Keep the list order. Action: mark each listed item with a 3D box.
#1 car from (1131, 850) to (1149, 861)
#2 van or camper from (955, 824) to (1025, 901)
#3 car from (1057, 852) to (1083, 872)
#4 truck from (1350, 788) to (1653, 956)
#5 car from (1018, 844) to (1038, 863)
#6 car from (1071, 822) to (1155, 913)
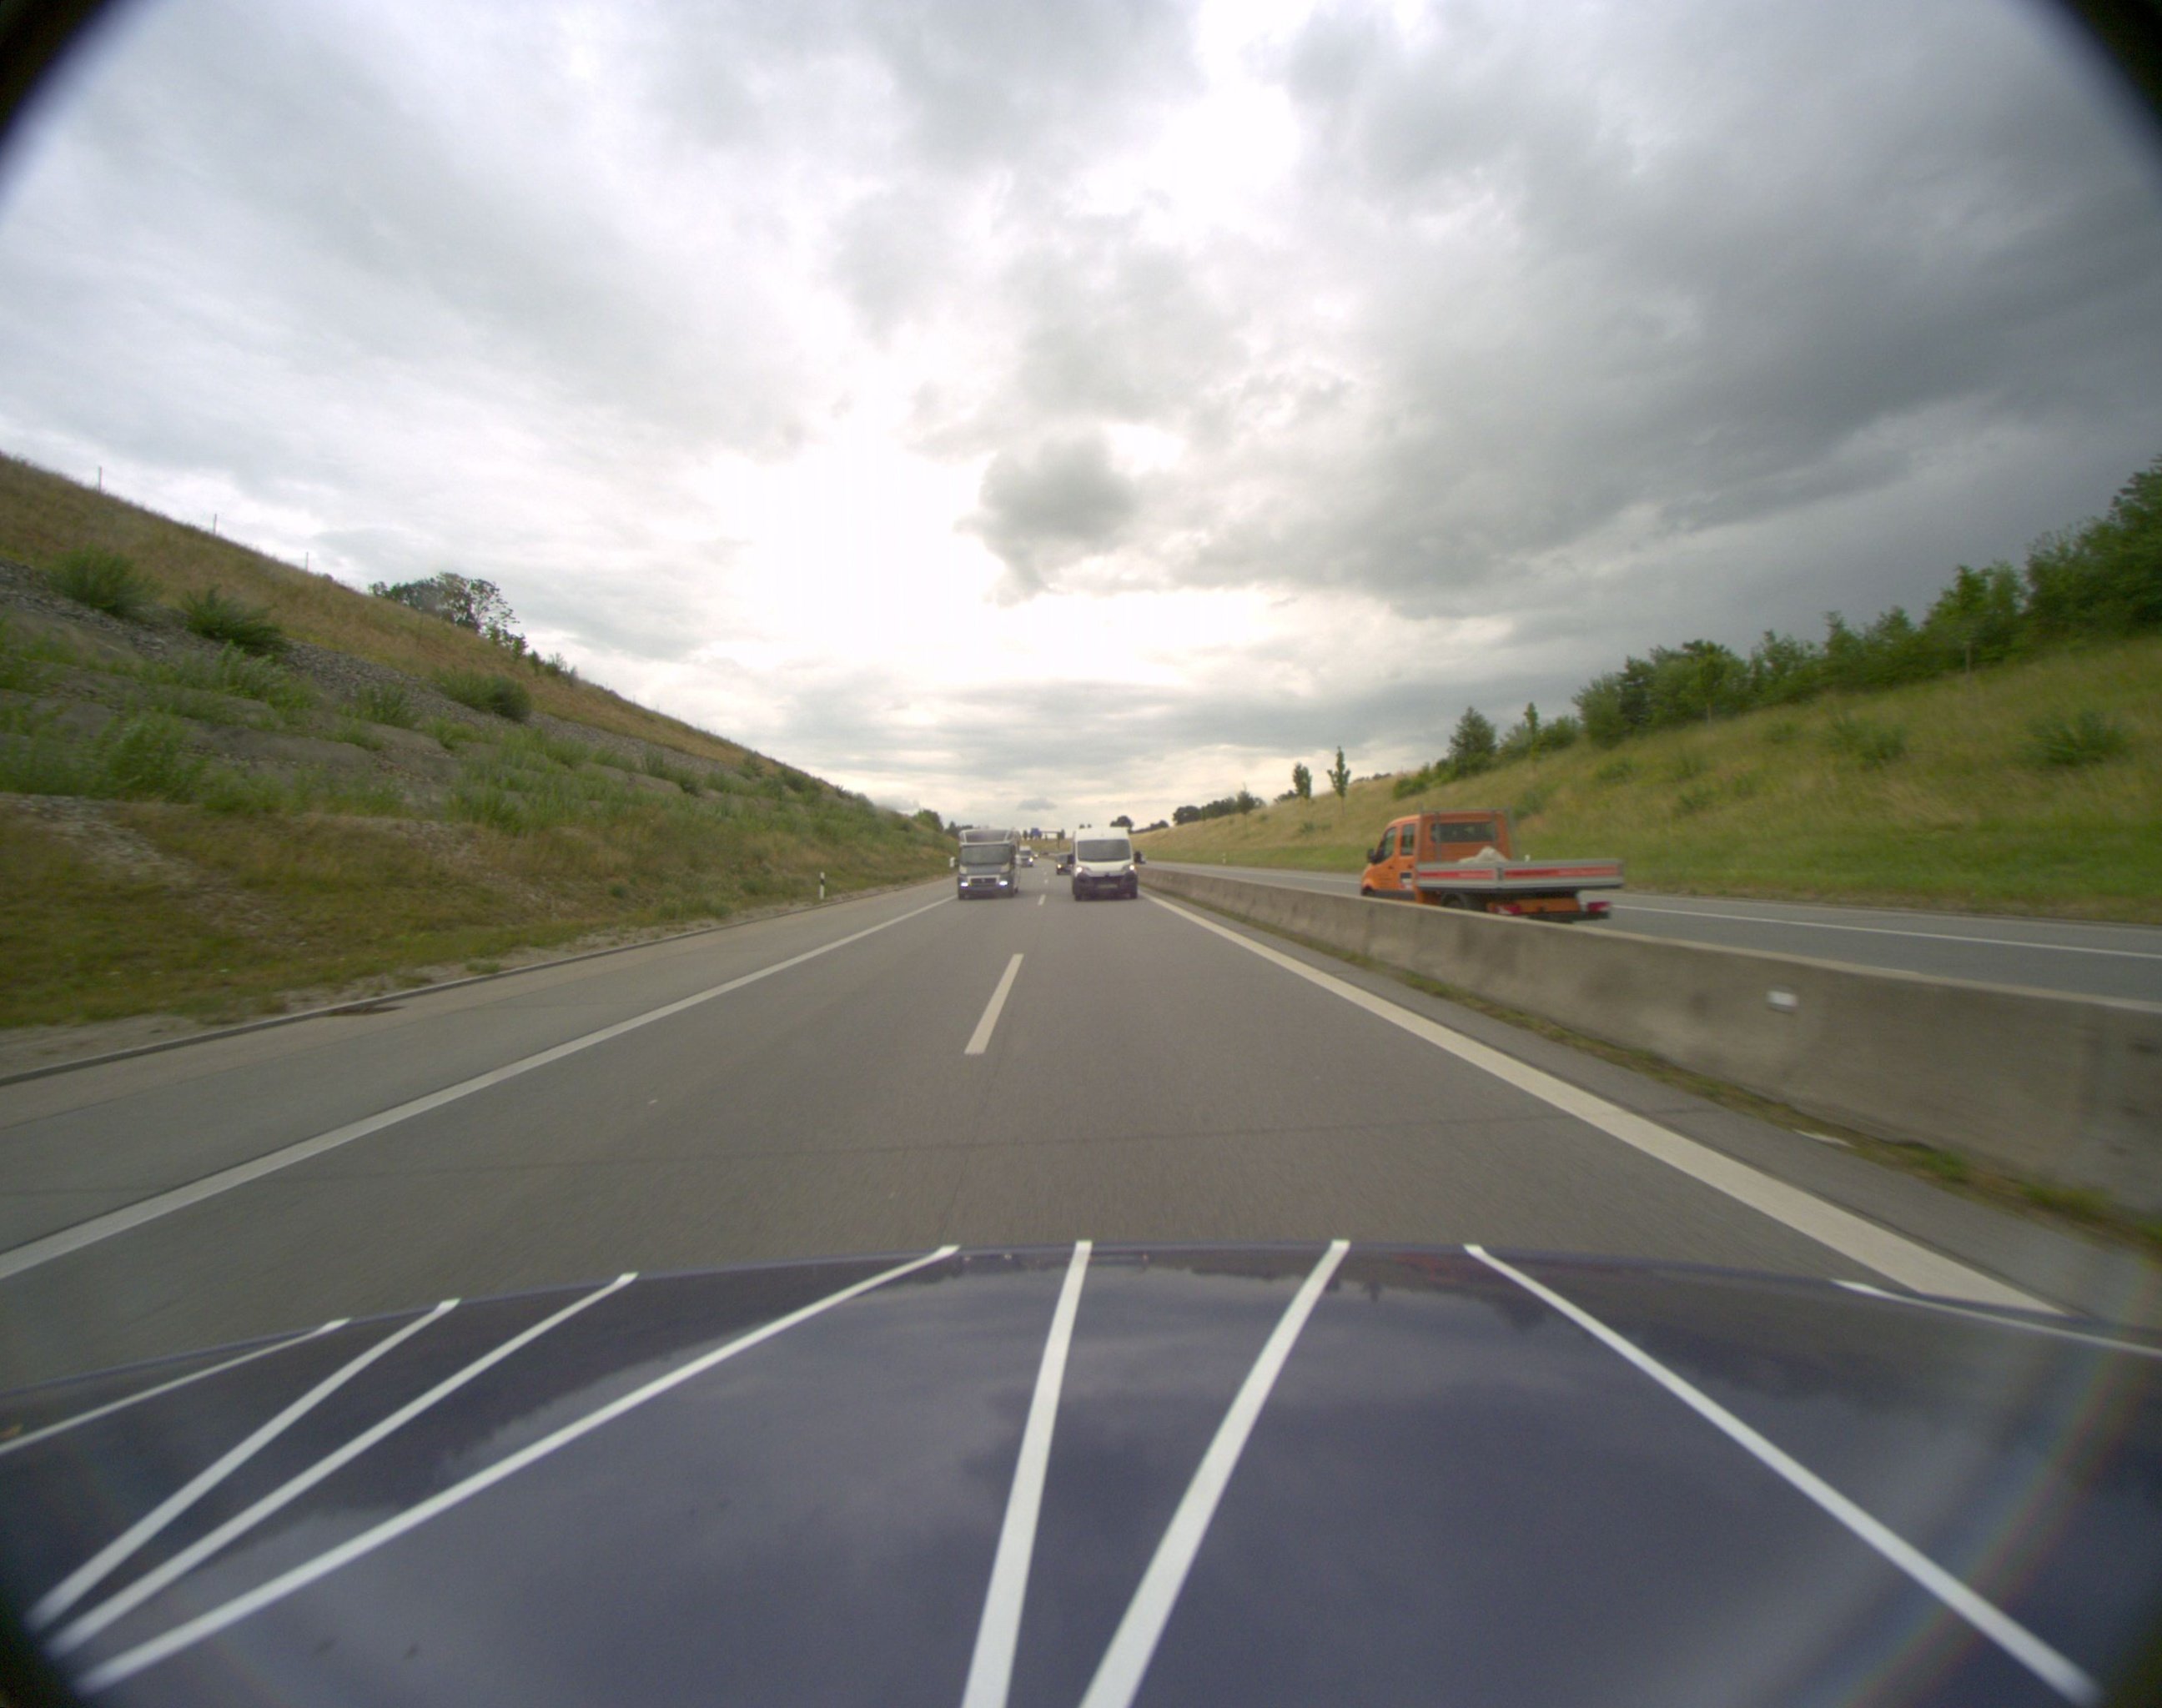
[{"bbox_3d":[7.566,0.163,97.817,1.778,1.432,5.013,-1,1,-3],"label":"car"},{"bbox_3d":[-3.564,0.281,31.067,2.104,2.721,6.900,-2,1,-2],"label":"van or camper"},{"bbox_3d":[-0.888,0.601,57.636,1.704,1.432,3.643,-1,1,-4],"label":"car"},{"bbox_3d":[7.547,0.262,14.816,2.196,2.495,6.552,-1,0,-1],"label":"truck"},{"bbox_3d":[-6.549,-0.087,94.331,2.290,2.259,6.430,-1,1,-2],"label":"car"},{"bbox_3d":[0.832,0.333,23.642,2.132,2.412,6.110,-1,1,-1],"label":"car"}]
